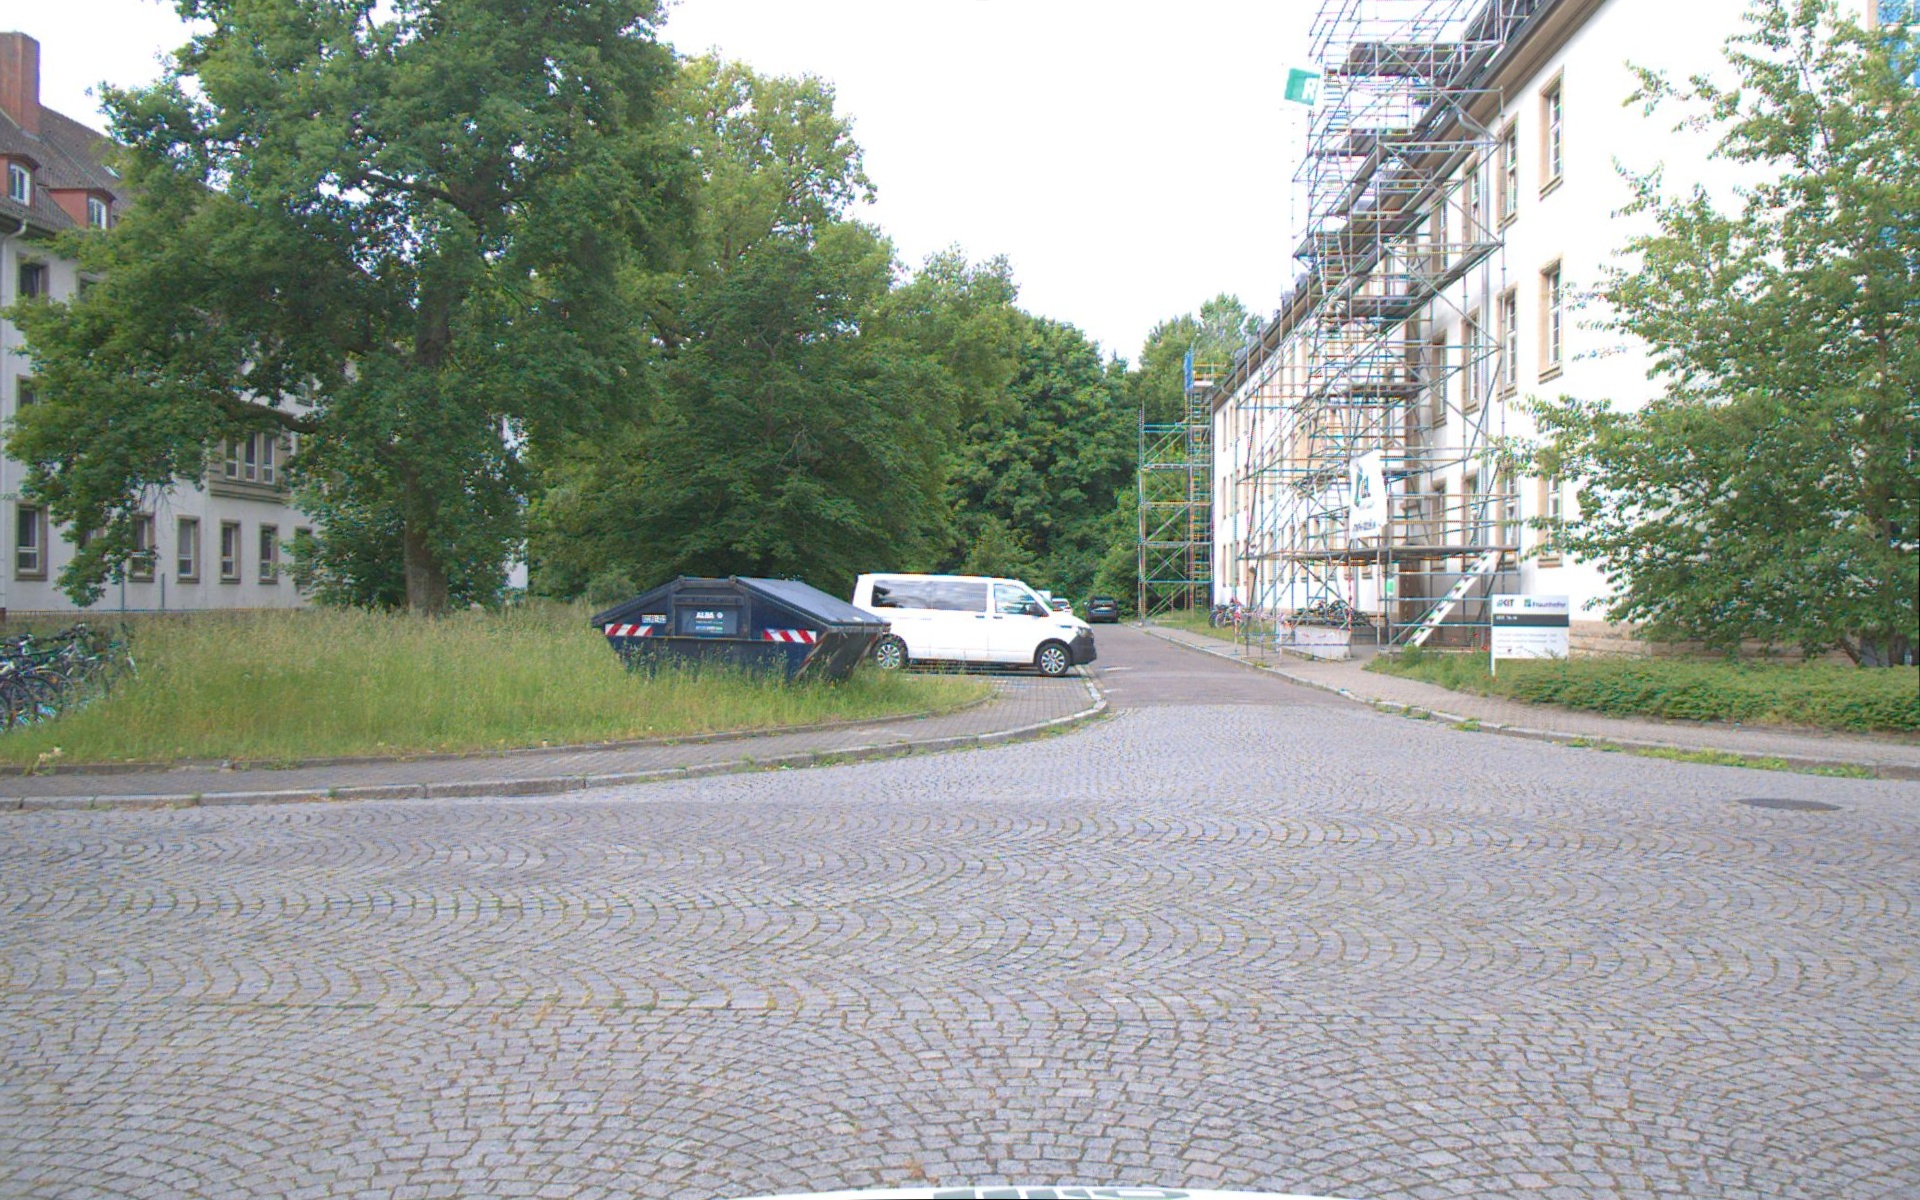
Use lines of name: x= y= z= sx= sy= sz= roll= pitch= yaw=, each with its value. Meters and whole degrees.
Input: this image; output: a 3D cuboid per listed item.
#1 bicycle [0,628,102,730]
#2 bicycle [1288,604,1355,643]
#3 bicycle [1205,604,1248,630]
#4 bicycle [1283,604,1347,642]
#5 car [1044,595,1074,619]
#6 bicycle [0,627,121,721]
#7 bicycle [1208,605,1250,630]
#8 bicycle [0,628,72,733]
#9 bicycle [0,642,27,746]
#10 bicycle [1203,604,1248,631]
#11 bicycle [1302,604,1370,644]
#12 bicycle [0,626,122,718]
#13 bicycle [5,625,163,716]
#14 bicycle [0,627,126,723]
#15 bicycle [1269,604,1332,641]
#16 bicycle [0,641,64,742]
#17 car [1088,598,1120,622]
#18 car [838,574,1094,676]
bicycle: x=-10.678 y=0.886 z=18.637 sx=1.733 sy=1.131 sz=0.475 roll=0 pitch=0 yaw=-20
bicycle: x=10.252 y=0.659 z=46.966 sx=1.816 sy=1.114 sz=0.511 roll=0 pitch=0 yaw=10
bicycle: x=11.559 y=0.730 z=71.780 sx=1.816 sy=1.114 sz=0.511 roll=0 pitch=0 yaw=10
bicycle: x=10.411 y=0.672 z=48.555 sx=1.816 sy=1.114 sz=0.511 roll=0 pitch=0 yaw=10
car: x=5.783 y=0.417 z=96.896 sx=1.546 sy=1.362 sz=3.953 roll=0 pitch=0 yaw=0
bicycle: x=-11.245 y=0.899 z=20.297 sx=1.615 sy=1.131 sz=0.441 roll=0 pitch=0 yaw=-8
bicycle: x=11.788 y=0.768 z=72.563 sx=1.816 sy=1.114 sz=0.511 roll=0 pitch=0 yaw=10
bicycle: x=-10.744 y=0.881 z=18.103 sx=1.729 sy=1.131 sz=0.476 roll=0 pitch=0 yaw=-14
bicycle: x=-10.275 y=0.960 z=16.454 sx=1.634 sy=1.025 sz=0.476 roll=-1 pitch=0 yaw=-14
bicycle: x=11.301 y=0.746 z=70.413 sx=1.819 sy=1.114 sz=0.510 roll=0 pitch=0 yaw=25
bicycle: x=10.541 y=0.658 z=46.406 sx=1.816 sy=1.114 sz=0.511 roll=0 pitch=0 yaw=10
bicycle: x=-11.483 y=0.900 z=20.798 sx=1.615 sy=1.131 sz=0.441 roll=0 pitch=0 yaw=-8
bicycle: x=-11.313 y=0.899 z=21.392 sx=1.729 sy=1.131 sz=0.476 roll=0 pitch=0 yaw=-14
bicycle: x=-11.037 y=0.891 z=19.893 sx=1.729 sy=1.131 sz=0.476 roll=0 pitch=0 yaw=-14
bicycle: x=10.199 y=0.678 z=49.560 sx=1.816 sy=1.114 sz=0.511 roll=0 pitch=0 yaw=10
bicycle: x=-10.322 y=0.965 z=17.229 sx=1.634 sy=1.025 sz=0.476 roll=-1 pitch=0 yaw=-14
car: x=8.399 y=0.579 z=96.877 sx=1.546 sy=1.395 sz=3.953 roll=0 pitch=0 yaw=0
car: x=0.150 y=0.504 z=34.276 sx=5.150 sy=2.031 sz=1.969 roll=0 pitch=0 yaw=2
